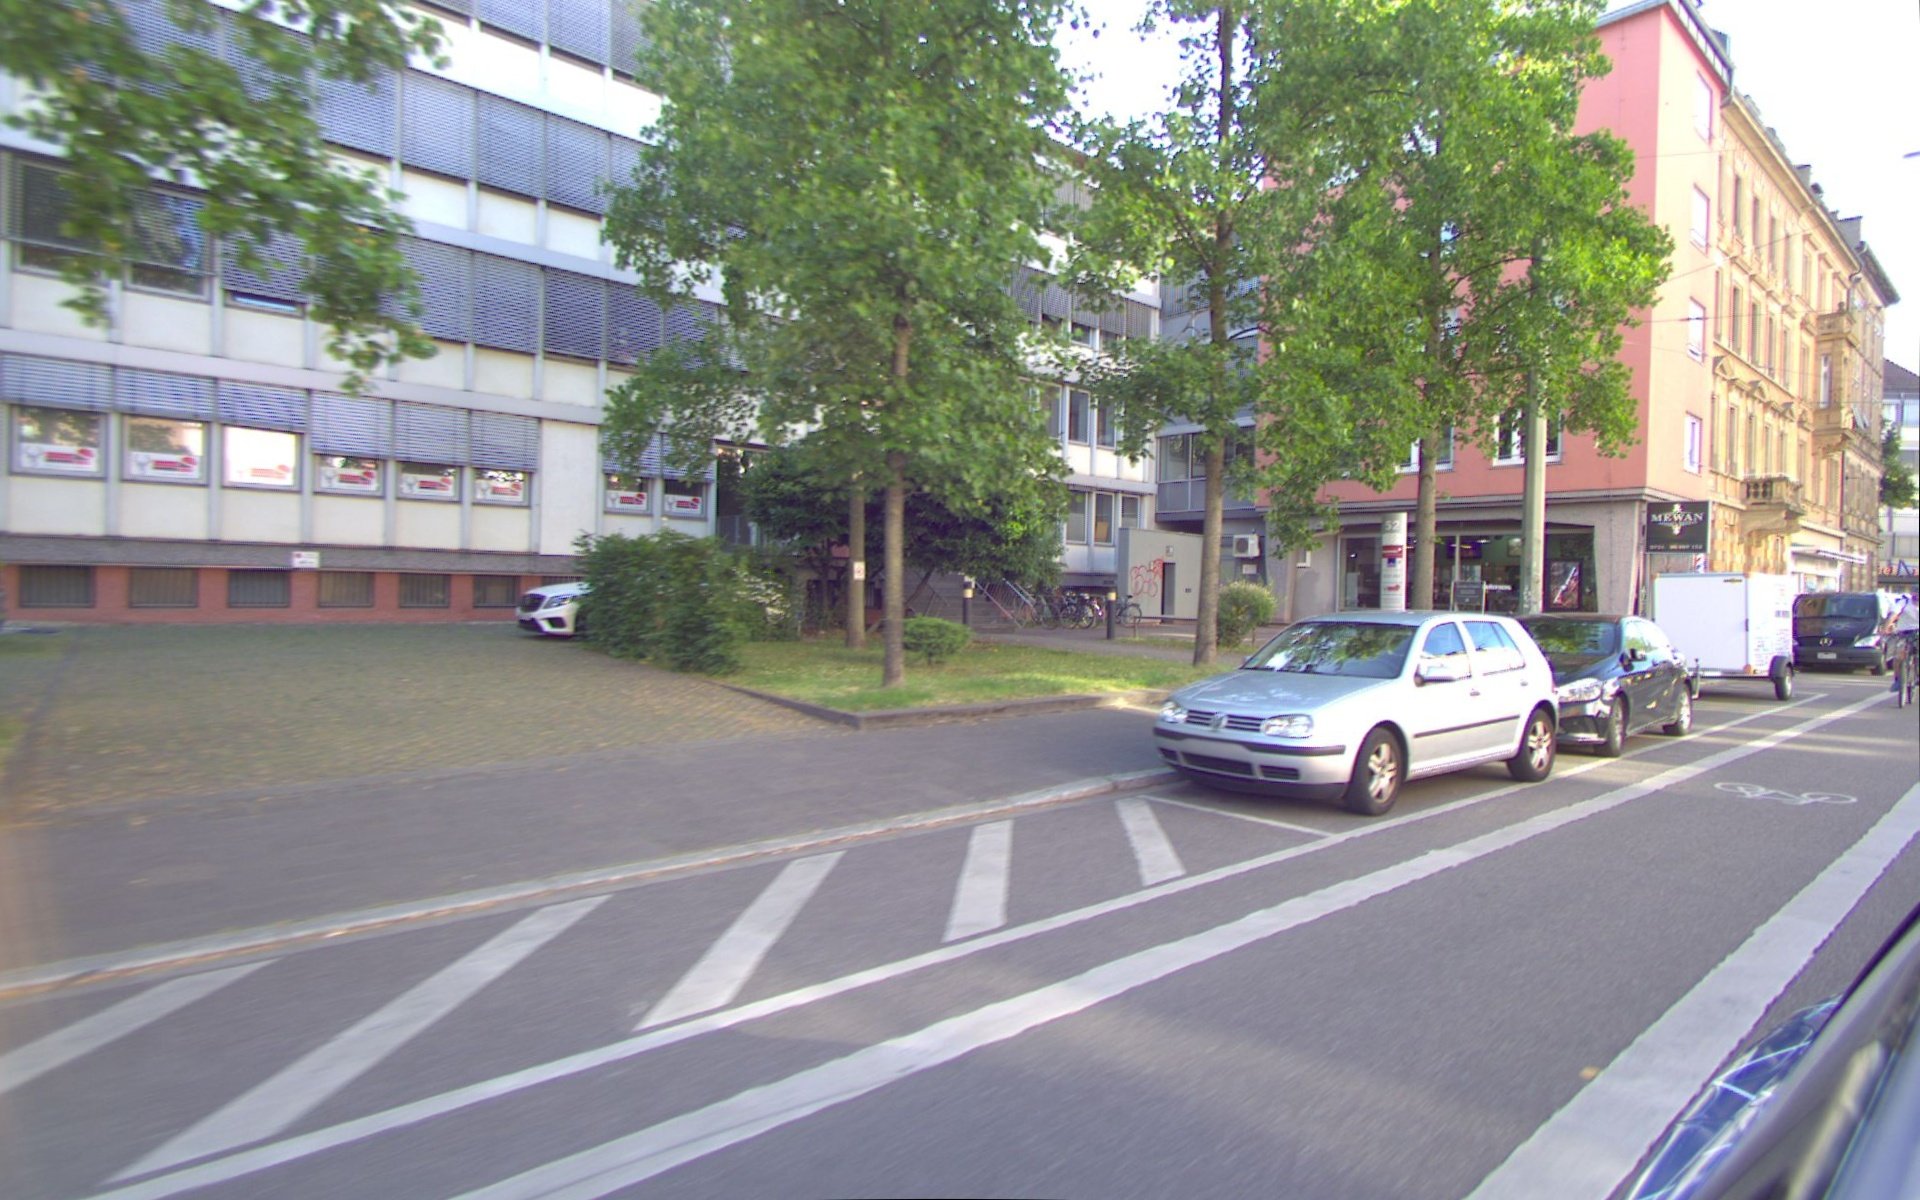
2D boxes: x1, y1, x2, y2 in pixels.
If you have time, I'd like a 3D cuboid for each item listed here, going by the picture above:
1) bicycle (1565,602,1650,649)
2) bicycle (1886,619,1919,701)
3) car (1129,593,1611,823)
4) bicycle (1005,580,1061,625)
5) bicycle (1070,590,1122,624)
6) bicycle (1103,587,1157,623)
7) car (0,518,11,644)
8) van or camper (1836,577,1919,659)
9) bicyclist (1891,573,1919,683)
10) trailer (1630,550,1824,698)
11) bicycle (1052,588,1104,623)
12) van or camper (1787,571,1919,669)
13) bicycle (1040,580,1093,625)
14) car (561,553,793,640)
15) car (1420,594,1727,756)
[{"bbox_3d":[16.575,0.645,25.922,1.846,1.147,0.427,1,1,1],"label":"bicycle"},{"bbox_3d":[14.900,0.909,15.666,2.060,1.153,0.648,0,1,-43],"label":"bicycle"},{"bbox_3d":[3.531,0.684,8.409,4.233,1.461,1.755,0,0,-36],"label":"car"},{"bbox_3d":[1.956,0.066,27.370,1.584,1.128,0.442,4,3,44],"label":"bicycle"},{"bbox_3d":[3.849,0.189,28.804,0.441,0.886,1.588,0,3,-38],"label":"bicycle"},{"bbox_3d":[5.069,0.145,30.239,1.581,0.974,0.443,4,2,40],"label":"bicycle"},{"bbox_3d":[-13.973,-0.288,11.781,4.238,1.556,1.791,1,0,-44],"label":"car"},{"bbox_3d":[25.790,0.425,27.777,5.381,2.062,1.934,-1,0,-42],"label":"van or camper"},{"bbox_3d":[14.943,0.423,15.710,0.912,1.676,0.655,0,0,-43],"label":"bicyclist"},{"bbox_3d":[12.572,0.348,16.514,3.774,2.144,1.664,0,-1,-39],"label":"trailer"},{"bbox_3d":[3.327,0.142,28.638,0.441,0.886,1.588,0,3,-38],"label":"bicycle"},{"bbox_3d":[21.308,0.417,23.926,5.240,2.072,1.973,0,-1,-42],"label":"van or camper"},{"bbox_3d":[2.937,0.054,28.085,0.441,1.139,1.588,1,2,-38],"label":"bicycle"},{"bbox_3d":[-5.297,-0.093,19.283,1.789,1.482,3.939,1,1,42],"label":"car"},{"bbox_3d":[7.007,0.703,11.373,4.250,1.453,1.804,-1,-1,-42],"label":"car"}]
